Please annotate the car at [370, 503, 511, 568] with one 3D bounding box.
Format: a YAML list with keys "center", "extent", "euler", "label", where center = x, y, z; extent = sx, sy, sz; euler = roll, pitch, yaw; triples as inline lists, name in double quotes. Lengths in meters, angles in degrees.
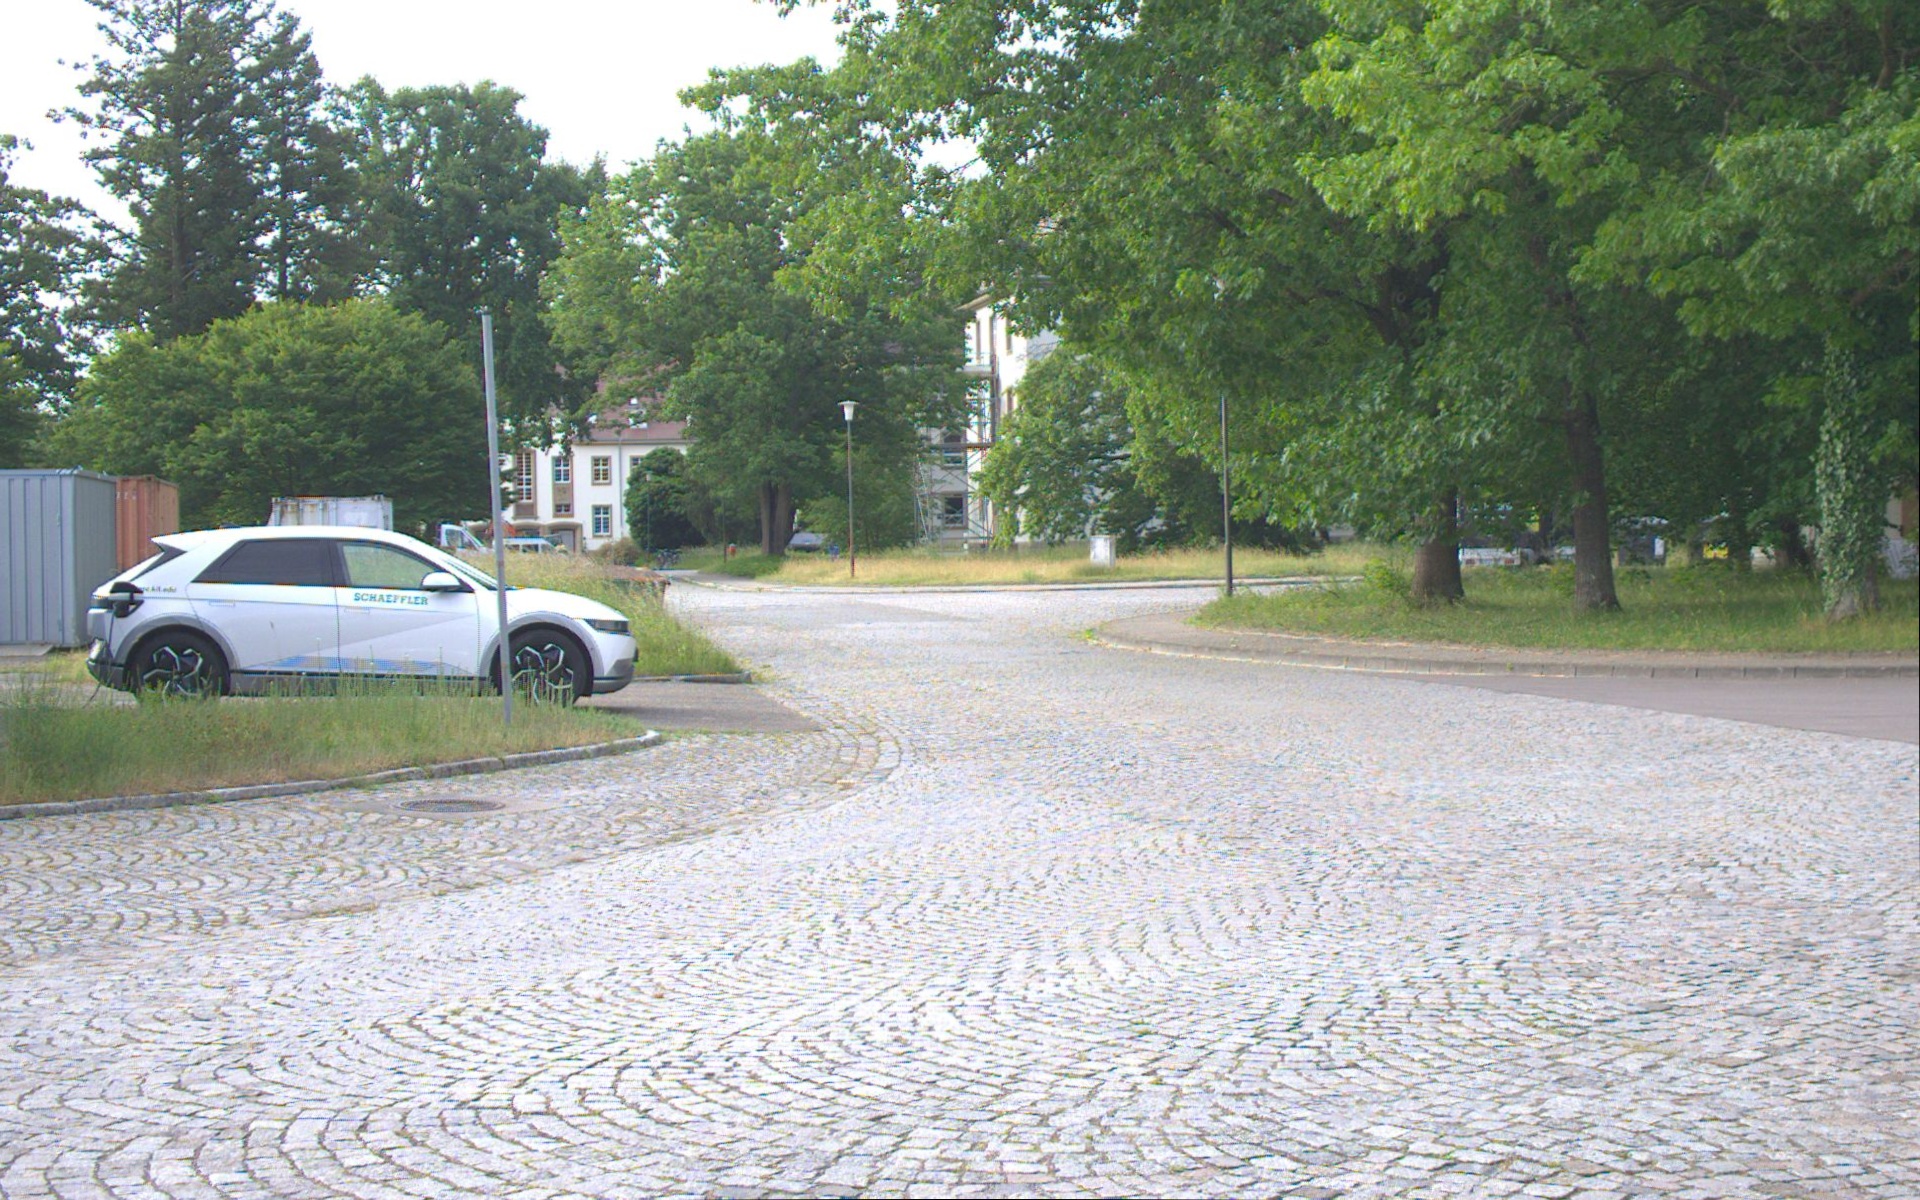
- center: [-19.631, -2.443, 129.933]
  extent: [5.169, 2.329, 2.001]
  euler: [-1, 1, -8]
  label: "car"

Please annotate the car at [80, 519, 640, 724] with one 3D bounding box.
- center: [-5.036, 0.157, 29.394]
  extent: [4.533, 1.594, 2.000]
  euler: [-1, 1, -6]
  label: "car"
